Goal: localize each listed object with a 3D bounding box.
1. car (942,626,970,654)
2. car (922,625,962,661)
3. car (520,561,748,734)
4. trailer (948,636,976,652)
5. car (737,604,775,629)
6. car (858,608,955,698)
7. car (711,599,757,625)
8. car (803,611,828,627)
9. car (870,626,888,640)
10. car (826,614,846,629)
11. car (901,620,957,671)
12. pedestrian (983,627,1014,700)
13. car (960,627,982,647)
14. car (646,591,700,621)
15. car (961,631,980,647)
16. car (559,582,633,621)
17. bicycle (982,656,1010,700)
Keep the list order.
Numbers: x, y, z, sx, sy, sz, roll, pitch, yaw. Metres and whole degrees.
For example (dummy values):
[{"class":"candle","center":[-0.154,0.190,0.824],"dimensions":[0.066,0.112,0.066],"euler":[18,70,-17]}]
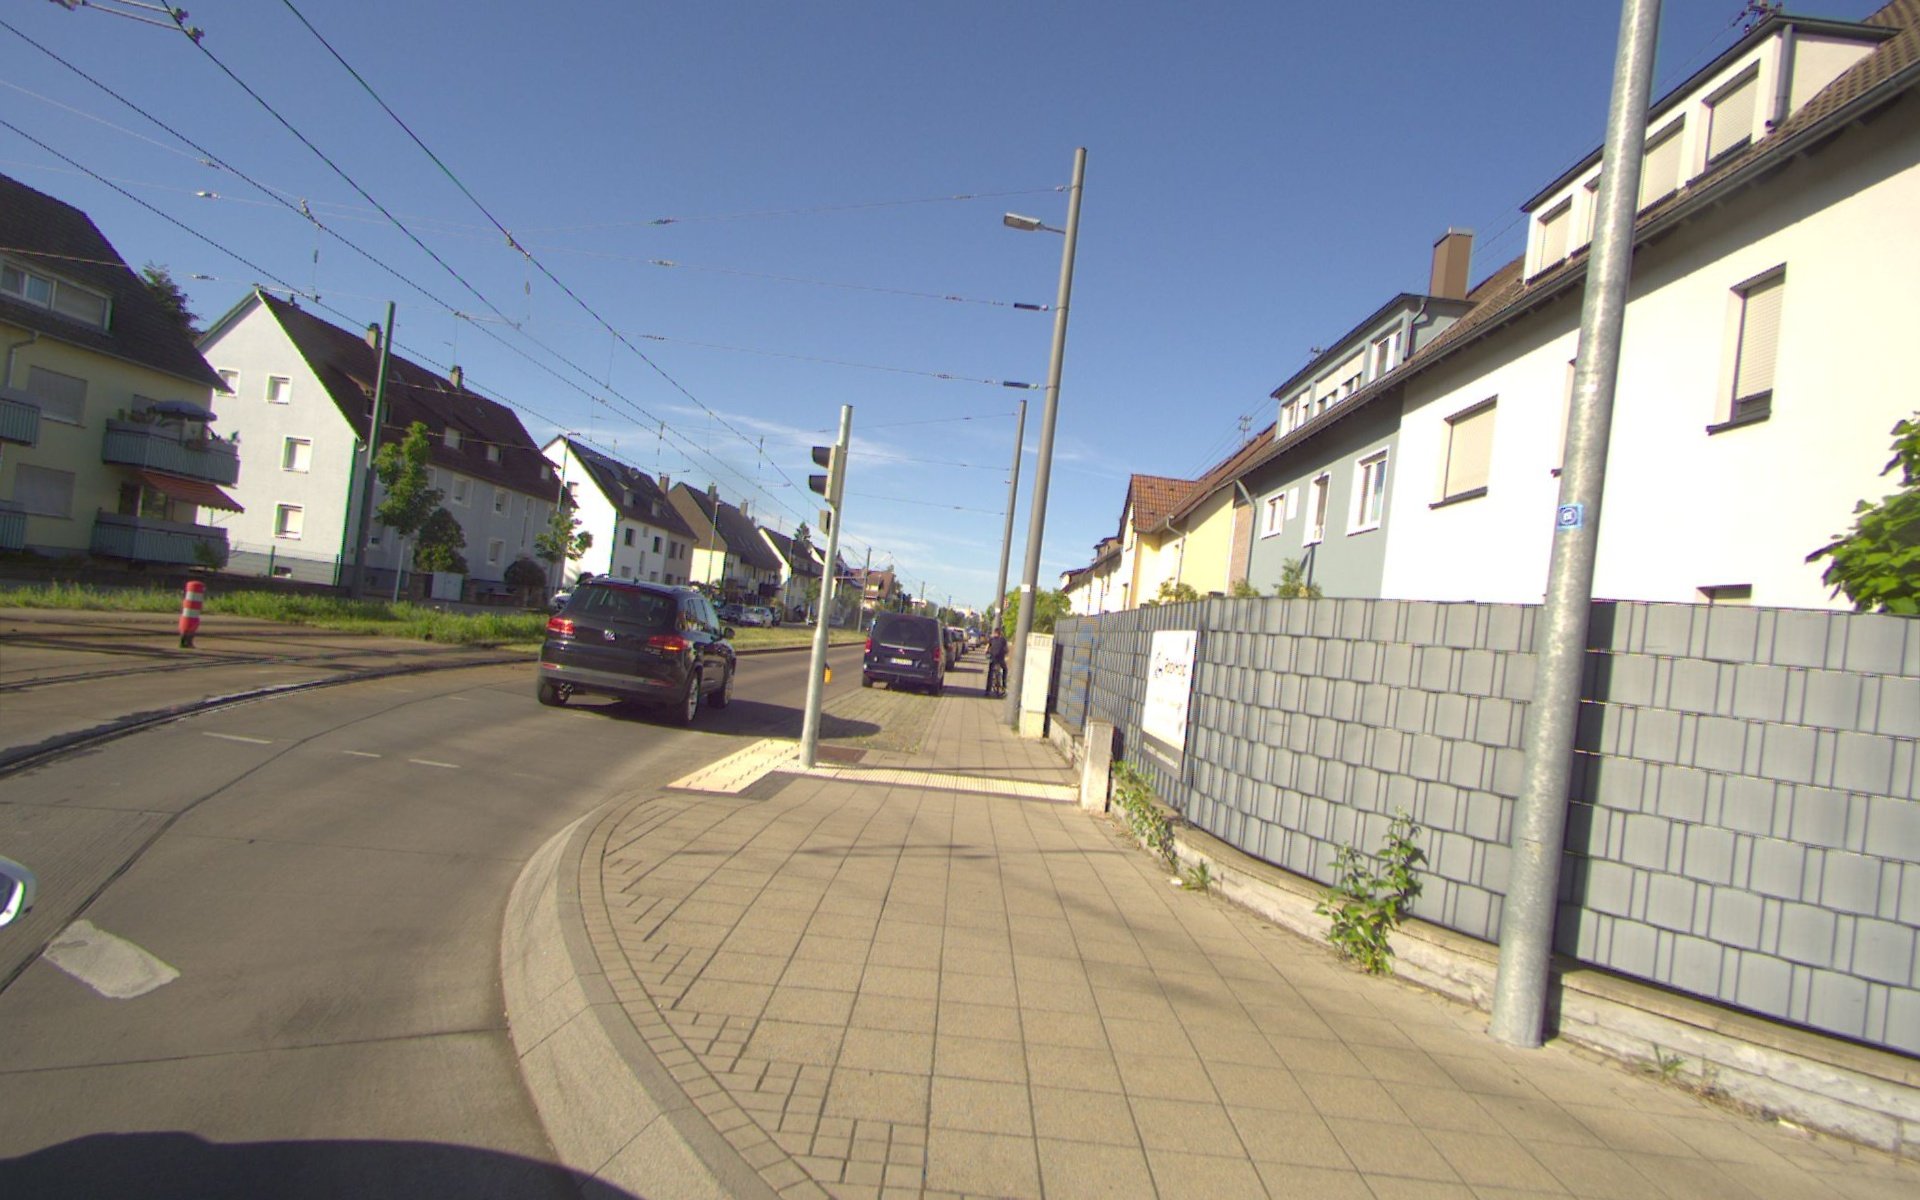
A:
[{"class":"car","center":[-0.277,2.937,74.253],"dimensions":[1.663,1.797,4.658],"euler":[7,-1,3]},{"class":"car","center":[-0.865,2.128,50.235],"dimensions":[1.640,1.566,3.838],"euler":[5,-2,3]},{"class":"car","center":[-4.124,0.593,13.497],"dimensions":[1.786,1.689,4.257],"euler":[9,-2,-5]},{"class":"trailer","center":[0.226,3.656,84.285],"dimensions":[2.169,1.106,4.374],"euler":[6,-2,1]},{"class":"car","center":[-13.735,1.132,67.952],"dimensions":[1.526,1.428,3.661],"euler":[7,-2,3]},{"class":"car","center":[-1.240,1.310,25.714],"dimensions":[1.931,1.857,4.930],"euler":[7,-2,1]},{"class":"car","center":[-16.896,0.953,75.372],"dimensions":[1.847,1.540,4.885],"euler":[8,-2,5]},{"class":"car","center":[-15.477,2.052,107.584],"dimensions":[1.593,1.470,3.721],"euler":[7,-1,7]},{"class":"car","center":[-10.263,4.242,127.838],"dimensions":[1.681,1.507,4.030],"euler":[7,-3,3]},{"class":"car","center":[-14.836,2.536,120.403],"dimensions":[1.593,1.424,3.723],"euler":[7,-3,3]},{"class":"car","center":[-1.159,1.765,39.741],"dimensions":[1.825,1.679,4.476],"euler":[7,-2,1]},{"class":"pedestrian","center":[0.965,1.581,25.298],"dimensions":[0.573,1.744,0.715],"euler":[7,0,2]},{"class":"car","center":[1.228,3.948,107.565],"dimensions":[1.962,1.883,4.921],"euler":[7,-2,2]},{"class":"car","center":[-17.376,0.397,61.168],"dimensions":[1.762,1.480,4.169],"euler":[7,-2,3]},{"class":"car","center":[1.019,3.921,101.193],"dimensions":[1.758,1.458,4.461],"euler":[6,-2,0]},{"class":"car","center":[-17.040,0.109,47.326],"dimensions":[1.666,1.535,4.217],"euler":[7,-2,3]},{"class":"bicycle","center":[0.916,1.940,25.148],"dimensions":[0.591,0.991,1.563],"euler":[5,-2,3]}]
